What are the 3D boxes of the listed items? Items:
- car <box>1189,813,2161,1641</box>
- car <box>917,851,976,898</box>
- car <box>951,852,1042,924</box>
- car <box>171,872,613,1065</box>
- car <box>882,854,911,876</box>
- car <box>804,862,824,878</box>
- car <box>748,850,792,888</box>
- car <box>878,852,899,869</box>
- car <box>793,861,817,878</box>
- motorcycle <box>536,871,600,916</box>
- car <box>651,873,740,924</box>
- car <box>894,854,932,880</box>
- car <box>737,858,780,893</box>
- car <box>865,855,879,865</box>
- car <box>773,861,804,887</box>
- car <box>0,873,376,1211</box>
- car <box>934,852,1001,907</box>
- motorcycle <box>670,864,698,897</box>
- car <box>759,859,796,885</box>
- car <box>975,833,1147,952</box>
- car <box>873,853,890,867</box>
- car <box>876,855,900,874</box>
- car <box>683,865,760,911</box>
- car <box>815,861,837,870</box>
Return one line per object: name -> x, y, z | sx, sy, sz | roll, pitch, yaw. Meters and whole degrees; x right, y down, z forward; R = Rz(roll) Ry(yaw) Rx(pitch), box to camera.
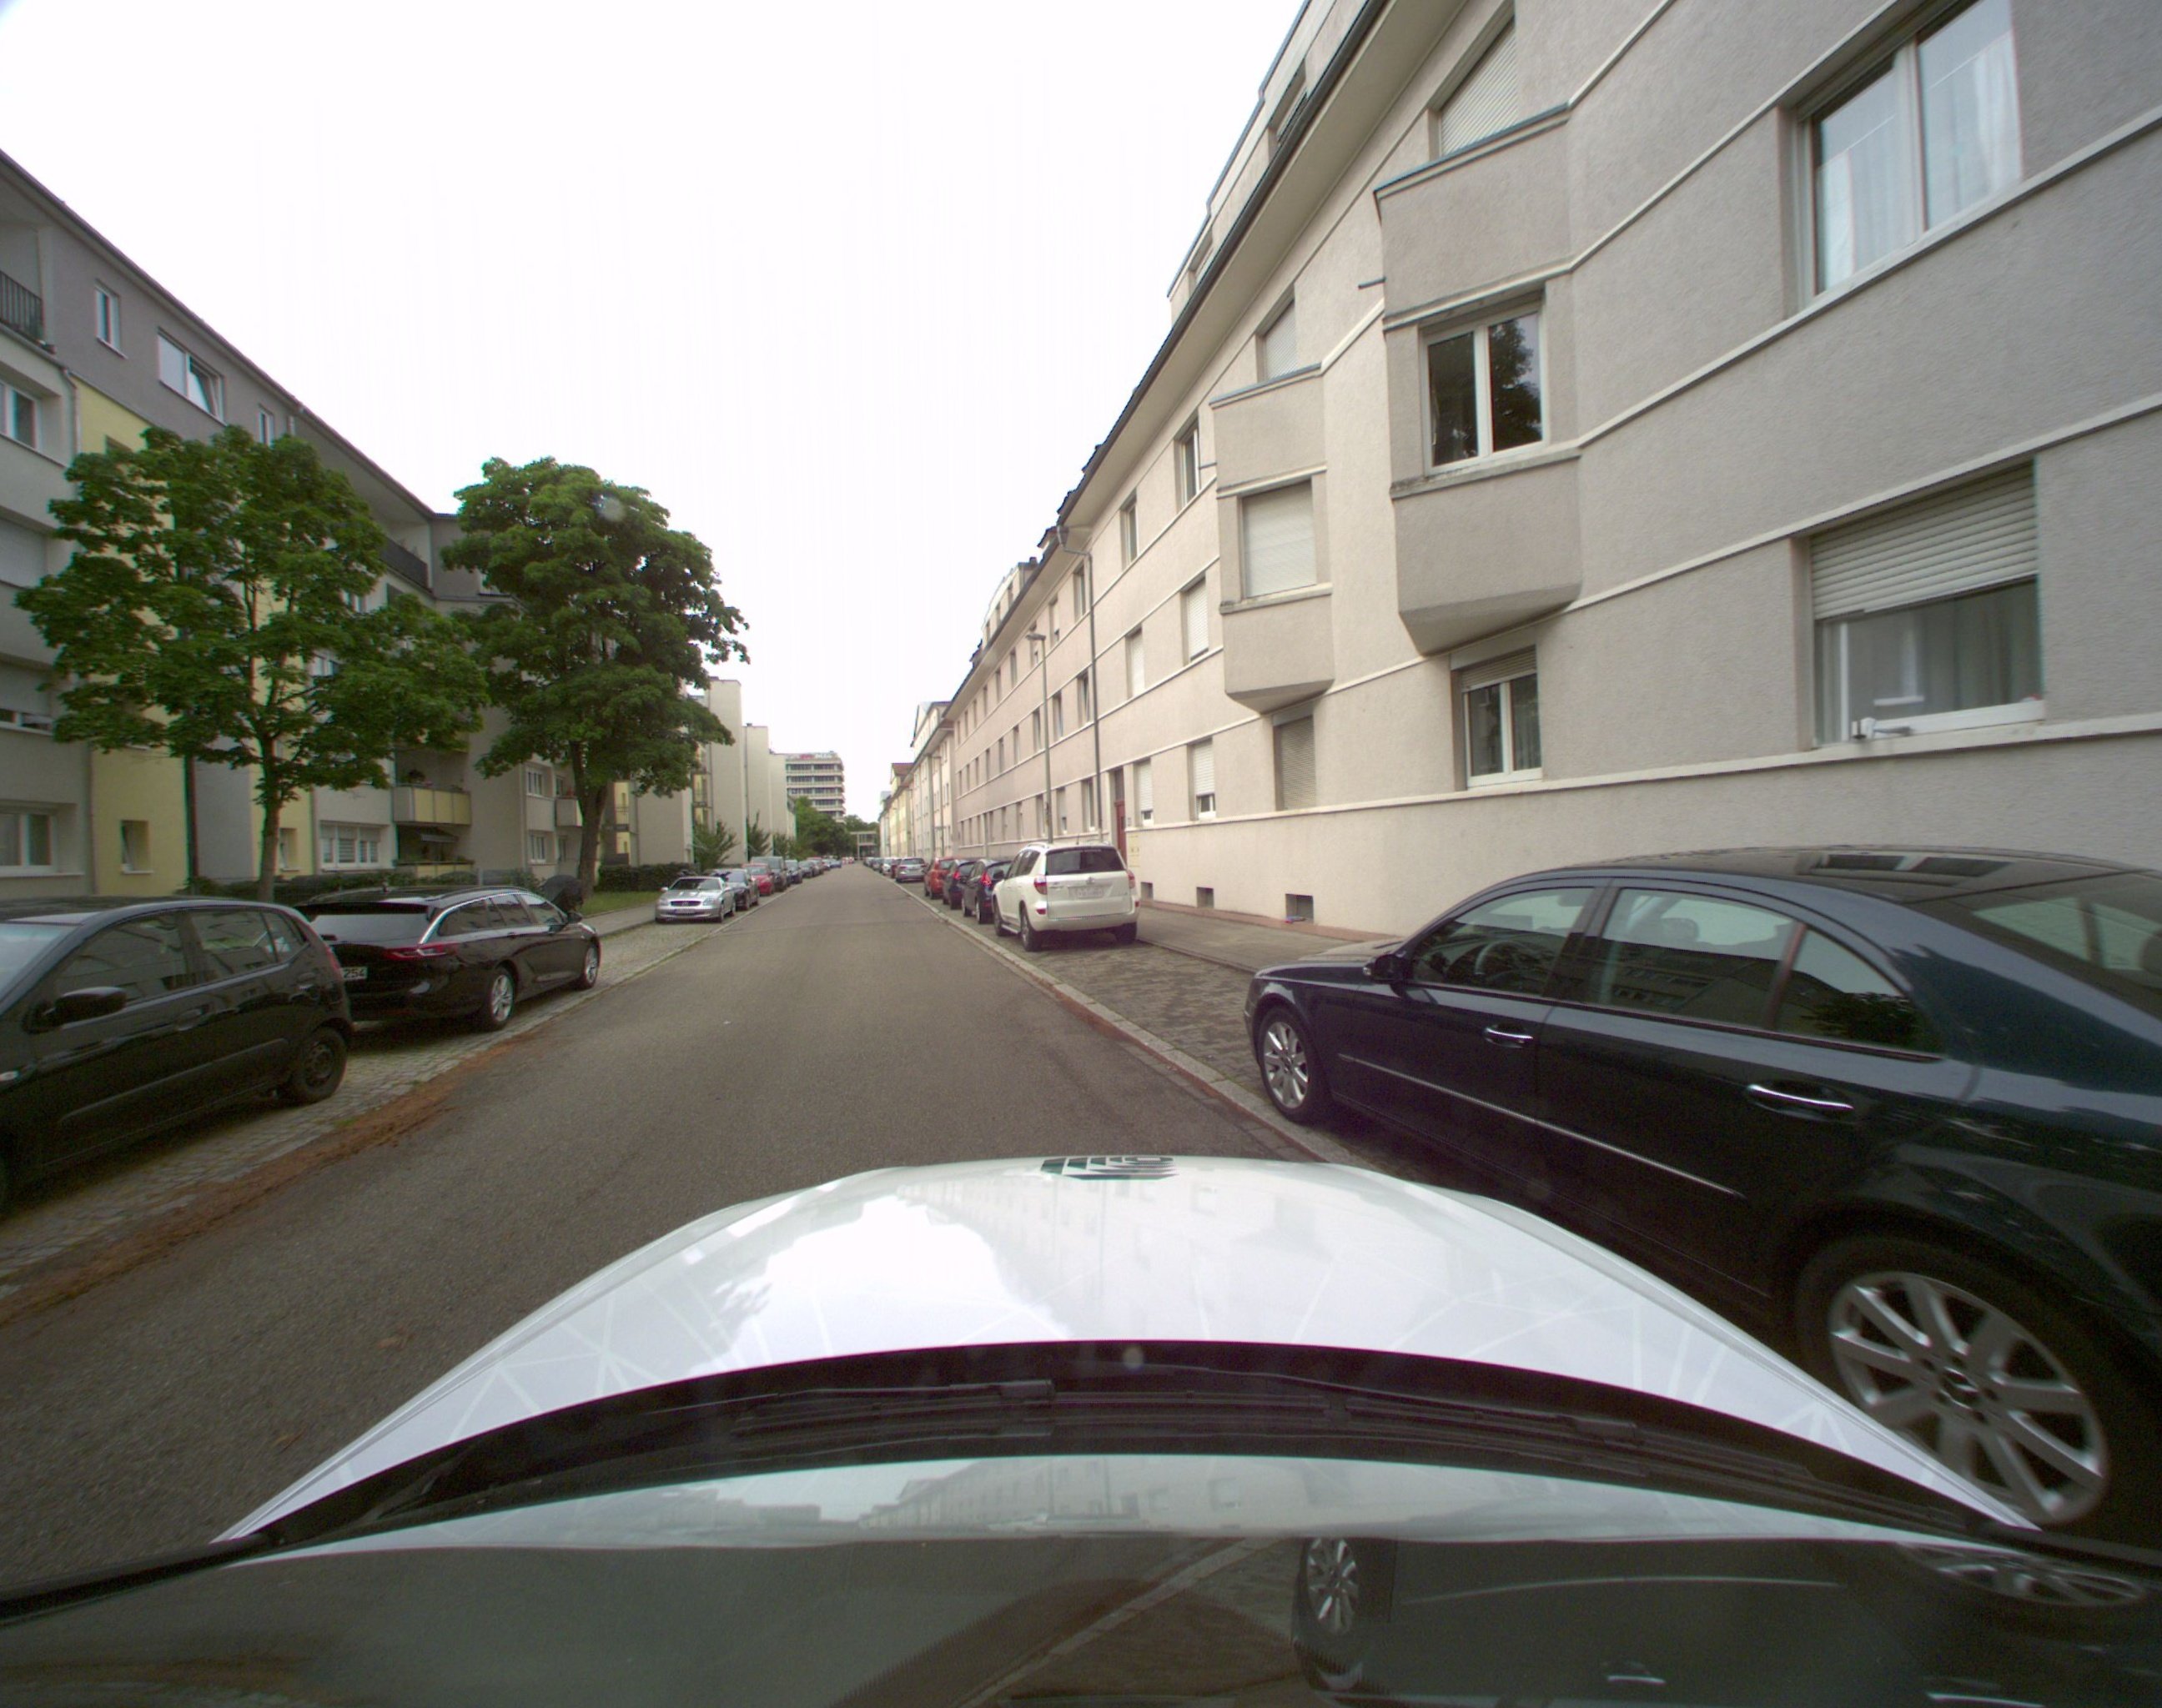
car -> 2.262, 0.623, 3.144 | 1.749, 1.420, 4.921 | -3, 1, -17
car -> -4.994, 0.713, 29.928 | 1.700, 1.525, 3.806 | -3, 1, -15
car -> -2.123, 0.720, 19.494 | 1.570, 1.478, 3.851 | -3, 1, -14
car -> -7.089, 0.990, 9.208 | 1.870, 1.464, 4.810 | 1, 0, -15
car -> -13.135, 0.745, 57.980 | 1.674, 1.420, 3.977 | -4, 1, -17
car -> -27.484, 1.647, 83.950 | 1.675, 1.526, 4.230 | -1, 0, -16
car -> -16.549, 0.757, 43.539 | 1.884, 1.904, 5.001 | 1, 0, -17
car -> -19.111, 0.600, 80.726 | 1.823, 1.577, 3.732 | -1, 0, -16
car -> -23.836, 1.292, 70.454 | 1.675, 1.351, 3.796 | -1, 0, -16
motorcycle -> -15.638, 1.169, 24.922 | 0.682, 1.223, 3.052 | -1, 0, -14
car -> -11.246, 1.233, 24.007 | 1.700, 1.258, 3.994 | 0, 0, -15
car -> -9.970, 0.730, 48.054 | 1.759, 1.467, 4.574 | -1, 0, -17
car -> -15.315, 0.971, 38.810 | 1.567, 1.569, 3.622 | 1, 0, -16
car -> -31.596, 0.874, 122.910 | 1.998, 1.398, 3.978 | 1, 0, -16
car -> -19.900, 1.340, 55.594 | 1.774, 1.643, 4.329 | -1, 0, -17
car -> -5.916, 0.893, 4.489 | 1.526, 1.493, 3.576 | 1, 0, -13
car -> -3.510, 0.707, 24.718 | 1.570, 1.473, 3.678 | -3, 1, -14
motorcycle -> -17.085, 1.137, 35.115 | 0.679, 1.356, 2.217 | 1, 0, -16
car -> -18.528, 1.069, 49.875 | 1.835, 1.459, 4.235 | -1, 0, -17
car -> -0.534, 0.559, 14.291 | 1.847, 1.673, 4.264 | -3, 1, -17
car -> -23.778, 0.684, 96.805 | 1.823, 1.577, 3.863 | -1, 0, -16
car -> -16.435, 0.842, 69.336 | 1.823, 1.504, 3.732 | -1, 0, -16
car -> -12.707, 1.142, 29.062 | 1.845, 1.421, 4.605 | 0, 0, -15
car -> -36.498, 1.618, 116.408 | 1.553, 1.214, 3.695 | -1, 0, -44
